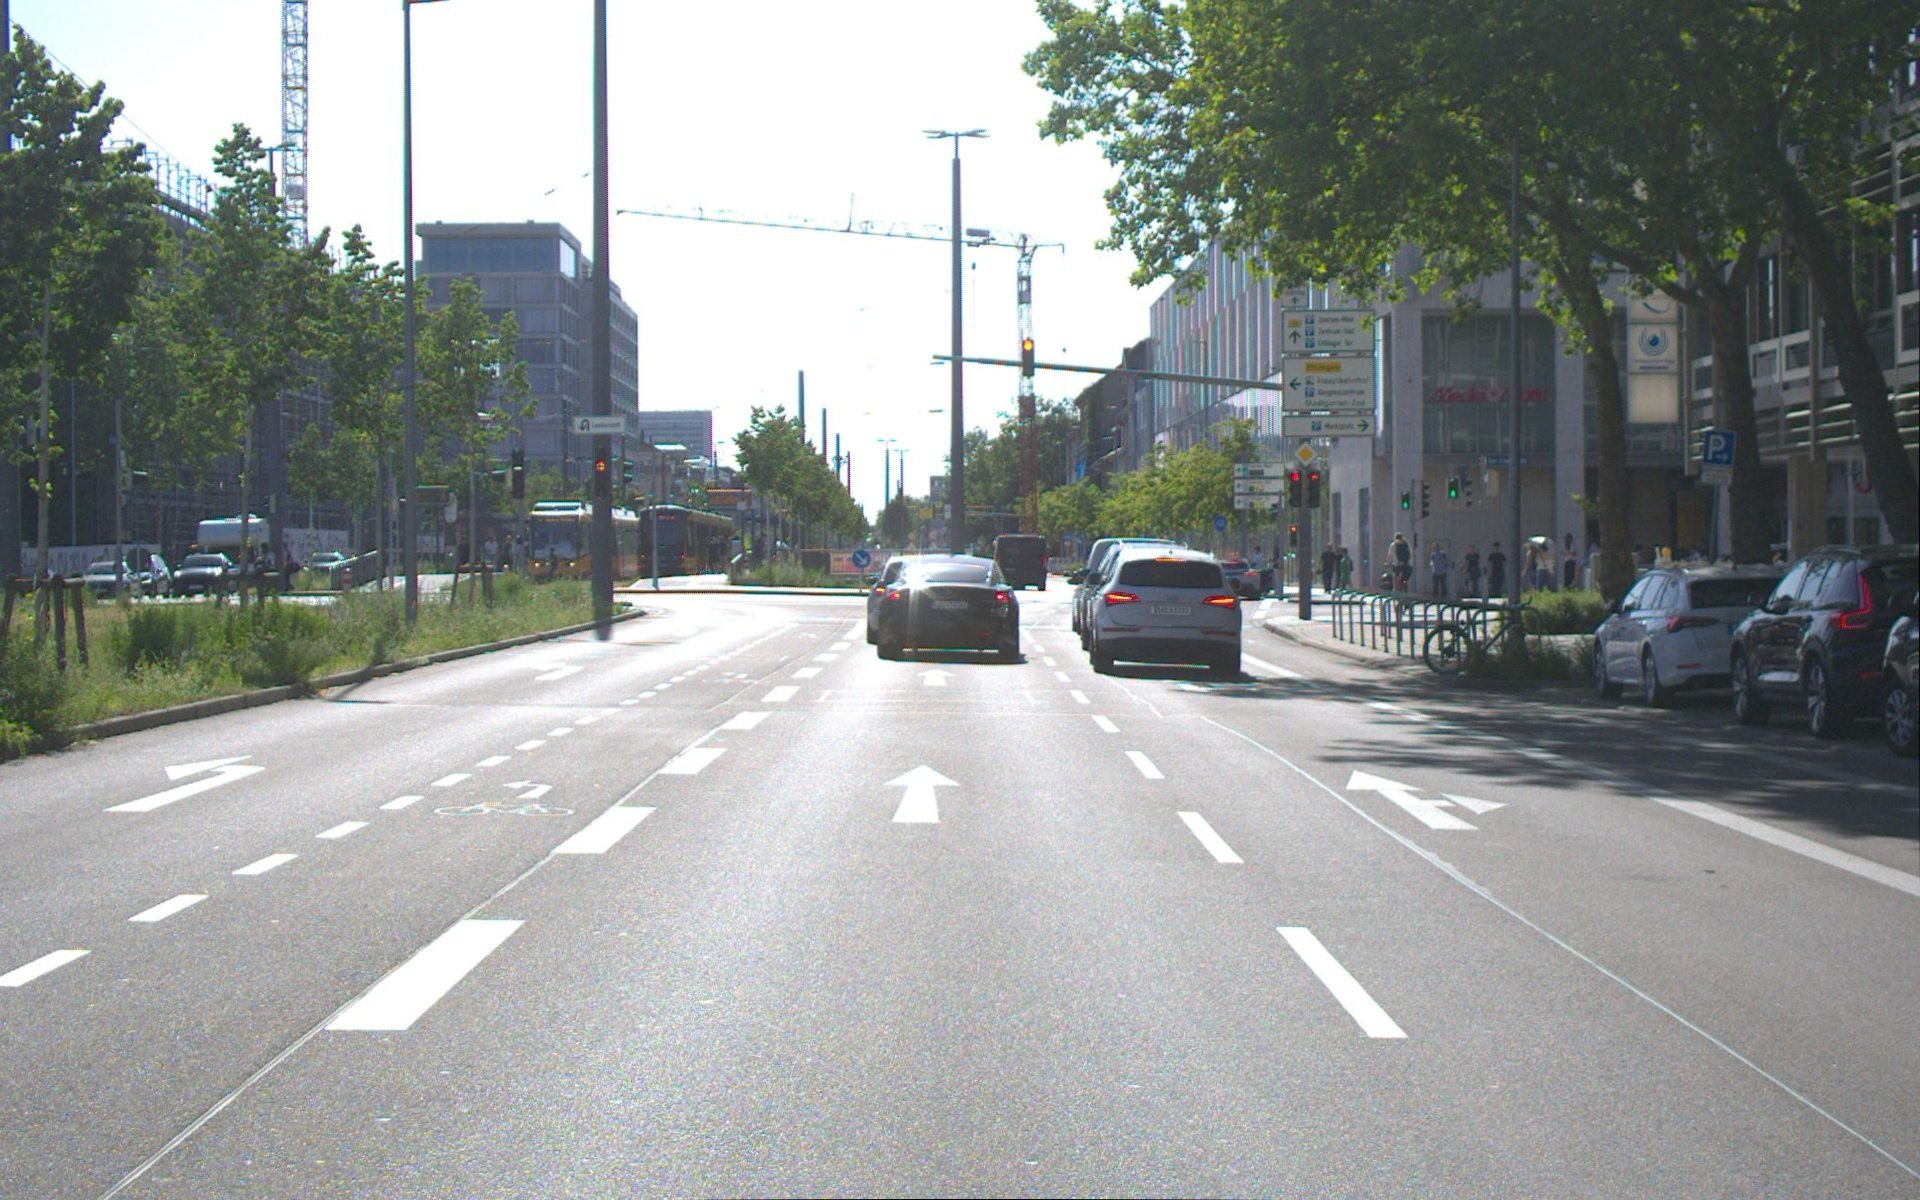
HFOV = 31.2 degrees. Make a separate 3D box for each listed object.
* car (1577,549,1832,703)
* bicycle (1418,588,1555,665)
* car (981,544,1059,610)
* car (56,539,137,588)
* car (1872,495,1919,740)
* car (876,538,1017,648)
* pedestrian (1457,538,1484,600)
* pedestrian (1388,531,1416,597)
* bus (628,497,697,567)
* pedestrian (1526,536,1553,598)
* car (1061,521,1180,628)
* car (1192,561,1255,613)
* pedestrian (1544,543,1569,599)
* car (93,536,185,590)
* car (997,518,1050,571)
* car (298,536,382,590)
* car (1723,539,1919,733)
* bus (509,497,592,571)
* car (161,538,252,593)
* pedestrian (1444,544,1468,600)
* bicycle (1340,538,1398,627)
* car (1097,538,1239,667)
[{"bbox_3d":[7.807,0.223,36.458,1.704,1.487,4.600,0,1,0],"label":"car"},{"bbox_3d":[6.884,0.342,44.990,1.693,0.954,0.478,-1,1,-4],"label":"bicycle"},{"bbox_3d":[1.356,-0.536,78.293,1.721,1.427,4.186,0,1,0],"label":"car"},{"bbox_3d":[-30.215,-1.272,120.336,1.837,1.607,3.896,2,0,-1],"label":"car"},{"bbox_3d":[7.791,0.121,23.992,1.704,1.784,4.192,-2,1,0],"label":"car"},{"bbox_3d":[-0.217,-0.136,49.021,1.912,1.481,4.010,0,1,-1],"label":"car"},{"bbox_3d":[12.071,-0.731,81.293,0.562,1.435,0.631,2,0,7],"label":"pedestrian"},{"bbox_3d":[9.879,-0.800,76.862,0.562,1.435,0.631,2,0,7],"label":"pedestrian"},{"bbox_3d":[-13.543,-3.056,157.178,2.627,2.949,9.900,2,0,-3],"label":"bus"},{"bbox_3d":[13.688,-0.777,81.213,0.562,1.435,0.631,2,0,7],"label":"pedestrian"},{"bbox_3d":[2.723,-0.466,59.013,1.721,1.776,4.187,0,1,-2],"label":"car"},{"bbox_3d":[8.831,-0.435,115.472,1.662,1.643,3.701,2,0,-2],"label":"car"},{"bbox_3d":[15.757,-0.760,90.795,0.562,1.435,0.631,2,0,7],"label":"pedestrian"},{"bbox_3d":[-19.234,-0.854,80.647,1.376,1.174,3.220,2,0,-1],"label":"car"},{"bbox_3d":[2.532,-2.196,137.303,1.993,2.007,4.000,2,0,0],"label":"car"},{"bbox_3d":[-14.430,-0.856,80.112,1.376,1.174,3.220,2,0,-1],"label":"car"},{"bbox_3d":[7.909,0.262,29.685,1.704,1.558,4.192,0,1,0],"label":"car"},{"bbox_3d":[-16.638,-2.653,140.209,2.627,2.773,8.845,2,0,-3],"label":"bus"},{"bbox_3d":[-17.316,-0.782,79.112,1.376,1.174,3.220,2,0,-1],"label":"car"},{"bbox_3d":[12.957,-0.720,89.884,0.562,1.435,0.631,2,0,7],"label":"pedestrian"},{"bbox_3d":[6.872,-0.294,57.824,0.562,1.435,2.577,2,0,-1],"label":"bicycle"},{"bbox_3d":[2.706,-0.004,45.447,1.721,1.612,4.186,0,1,2],"label":"car"}]
